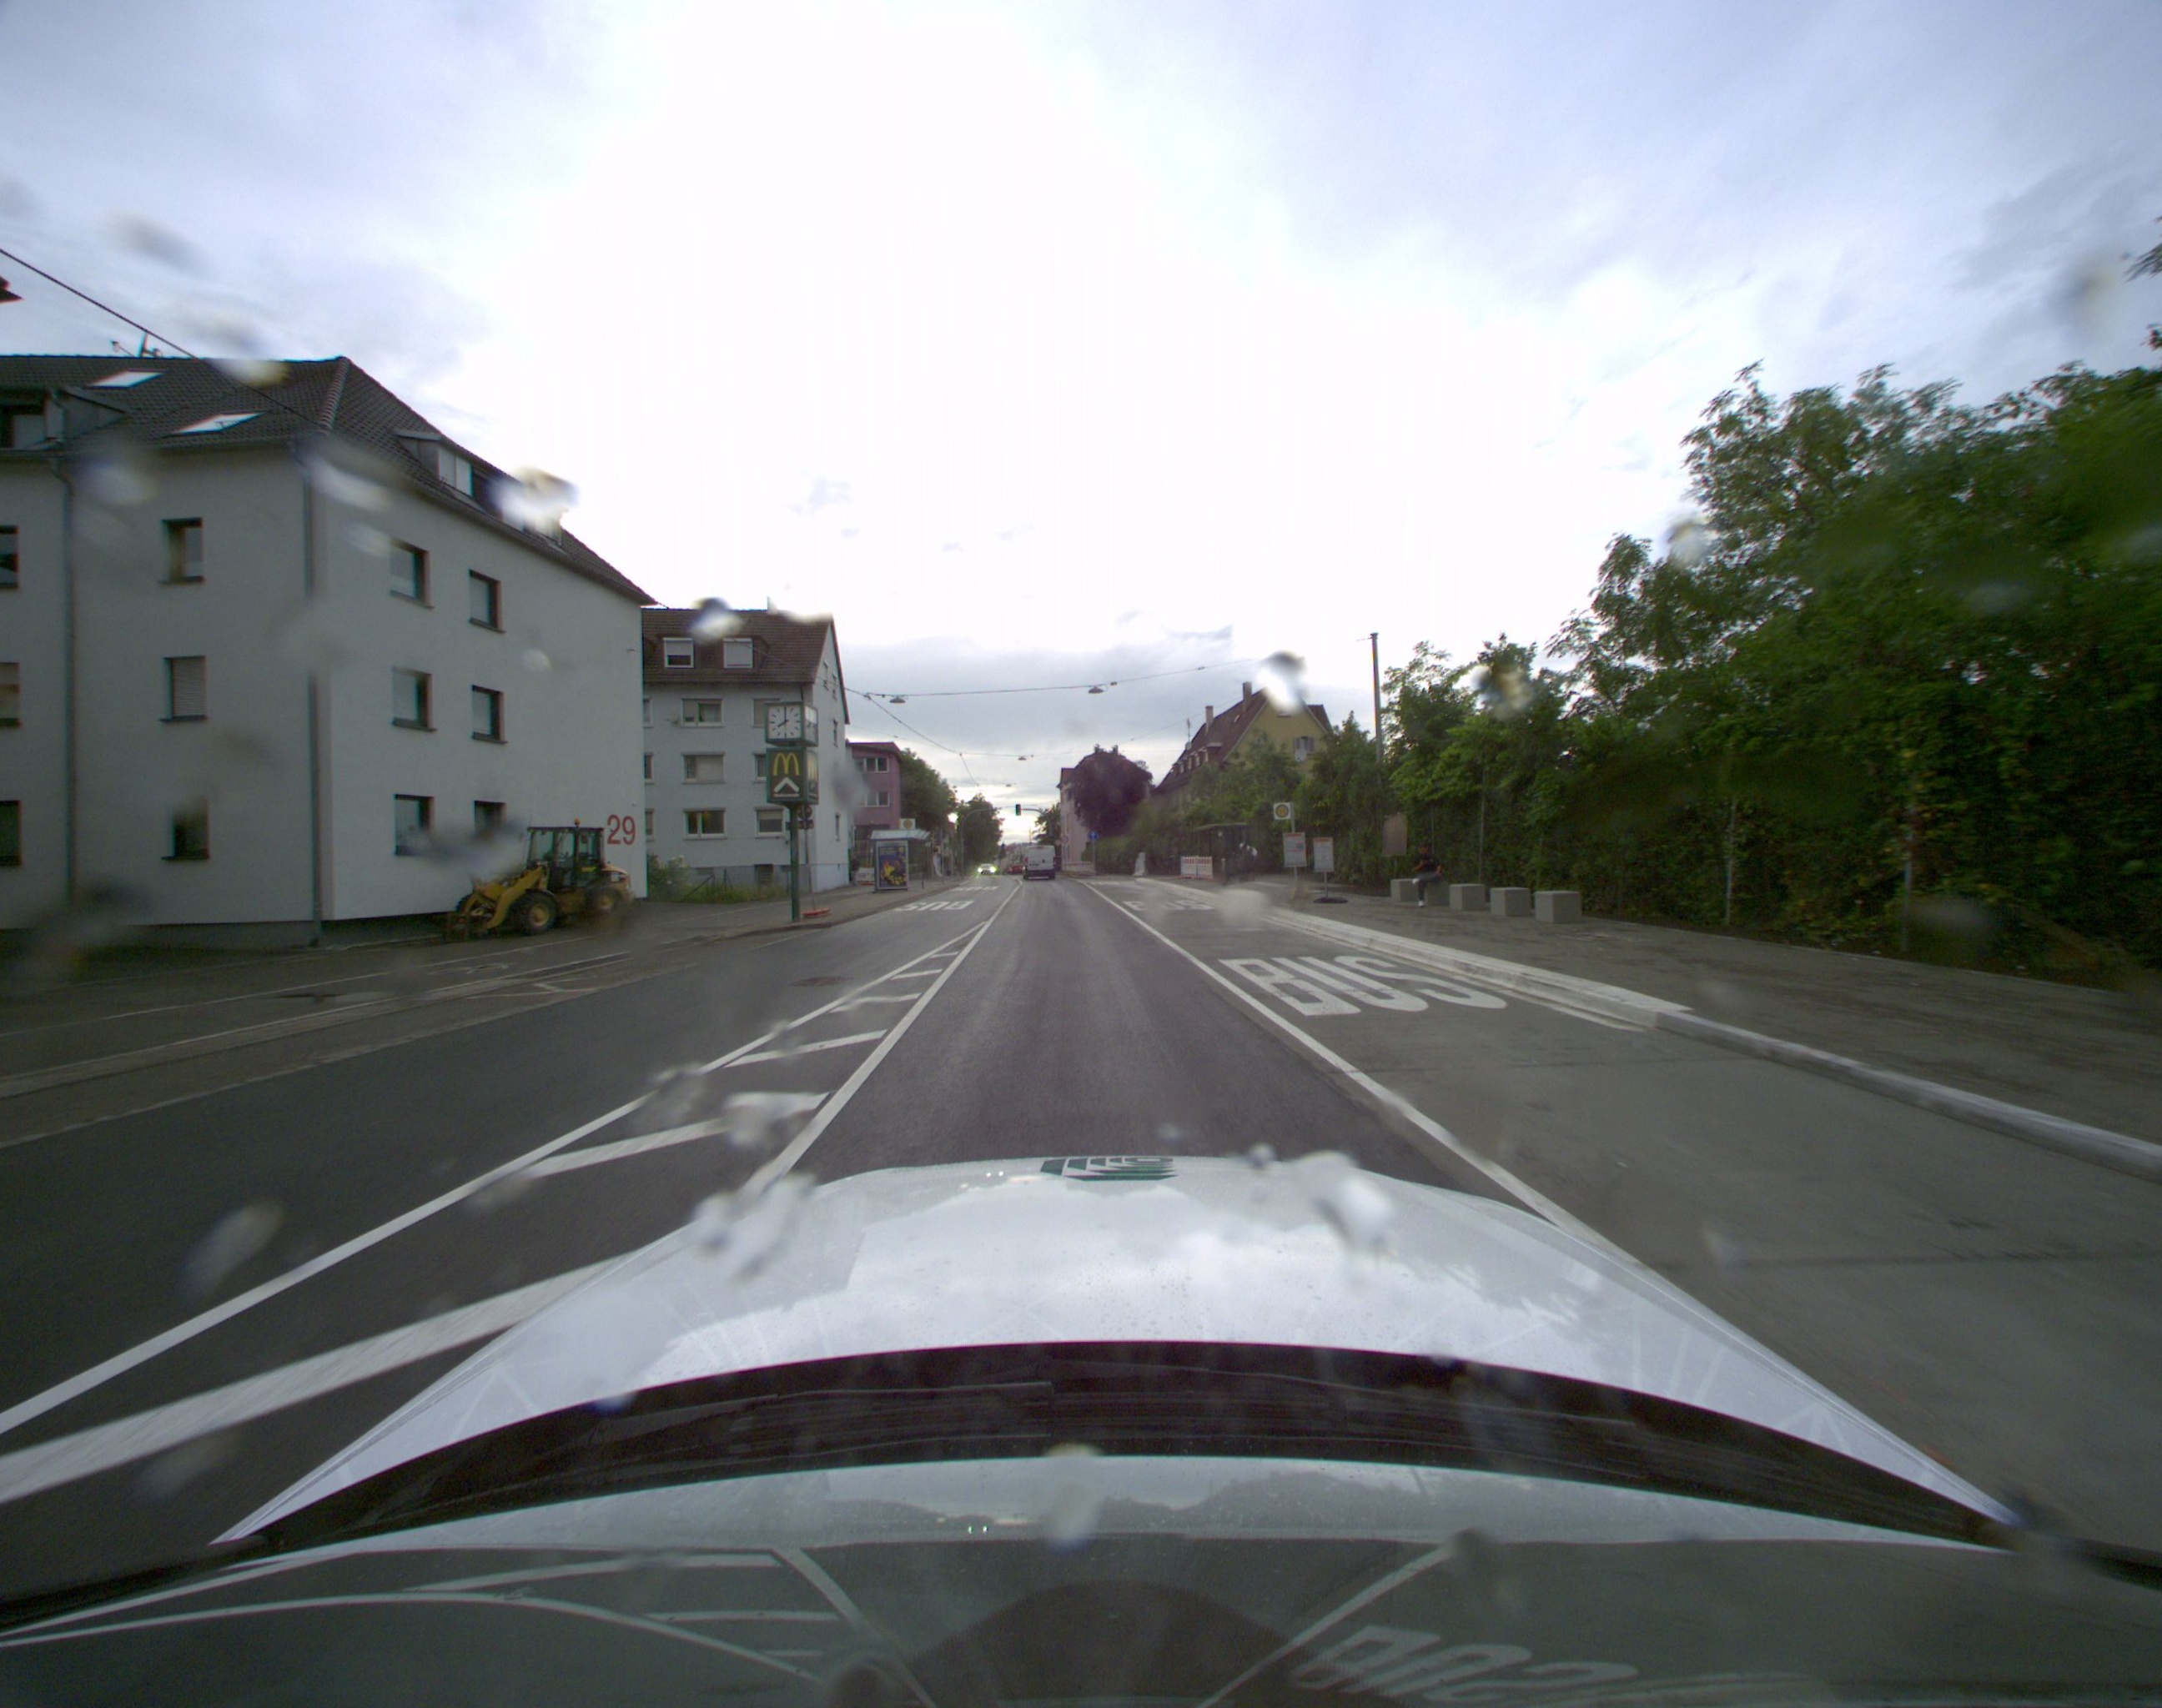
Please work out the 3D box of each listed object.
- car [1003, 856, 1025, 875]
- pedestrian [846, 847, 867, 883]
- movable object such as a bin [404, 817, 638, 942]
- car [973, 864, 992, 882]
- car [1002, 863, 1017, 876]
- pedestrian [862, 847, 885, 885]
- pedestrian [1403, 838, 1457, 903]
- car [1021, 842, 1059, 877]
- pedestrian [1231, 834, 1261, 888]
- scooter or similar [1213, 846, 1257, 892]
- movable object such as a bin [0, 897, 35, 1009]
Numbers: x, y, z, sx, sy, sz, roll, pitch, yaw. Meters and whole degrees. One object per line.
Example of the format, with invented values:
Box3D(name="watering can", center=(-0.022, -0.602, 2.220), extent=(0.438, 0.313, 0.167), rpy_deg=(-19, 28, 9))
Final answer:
Box3D(name="car", center=(-7.084, 1.195, 86.073), extent=(2.234, 1.656, 4.705), rpy_deg=(-1, 2, -5))
Box3D(name="pedestrian", center=(-13.024, 0.650, 47.249), extent=(1.080, 2.013, 1.048), rpy_deg=(-1, 2, -12))
Box3D(name="movable object such as a bin", center=(-13.339, 0.465, 19.863), extent=(1.982, 2.682, 4.639), rpy_deg=(-1, 2, 8))
Box3D(name="car", center=(-11.744, 2.259, 96.969), extent=(1.990, 1.793, 3.995), rpy_deg=(-1, 2, -4))
Box3D(name="car", center=(-11.437, 2.490, 129.854), extent=(2.234, 1.804, 4.706), rpy_deg=(-1, 2, -5))
Box3D(name="pedestrian", center=(-11.702, 0.663, 46.028), extent=(1.208, 2.013, 1.047), rpy_deg=(-1, 2, -14))
Box3D(name="pedestrian", center=(7.704, 0.355, 18.026), extent=(0.874, 1.367, 1.068), rpy_deg=(-1, 2, 8))
Box3D(name="car", center=(-2.837, 0.331, 55.475), extent=(2.235, 2.213, 4.703), rpy_deg=(-1, 1, -6))
Box3D(name="pedestrian", center=(5.443, 0.218, 26.915), extent=(0.901, 1.731, 0.655), rpy_deg=(-1, 2, 7))
Box3D(name="scooter or similar", center=(5.089, 0.478, 26.915), extent=(1.564, 1.405, 0.492), rpy_deg=(-5, 4, -38))
Box3D(name="movable object such as a bin", center=(-14.009, 1.205, 8.242), extent=(1.547, 1.355, 4.003), rpy_deg=(-1, -1, 3))
